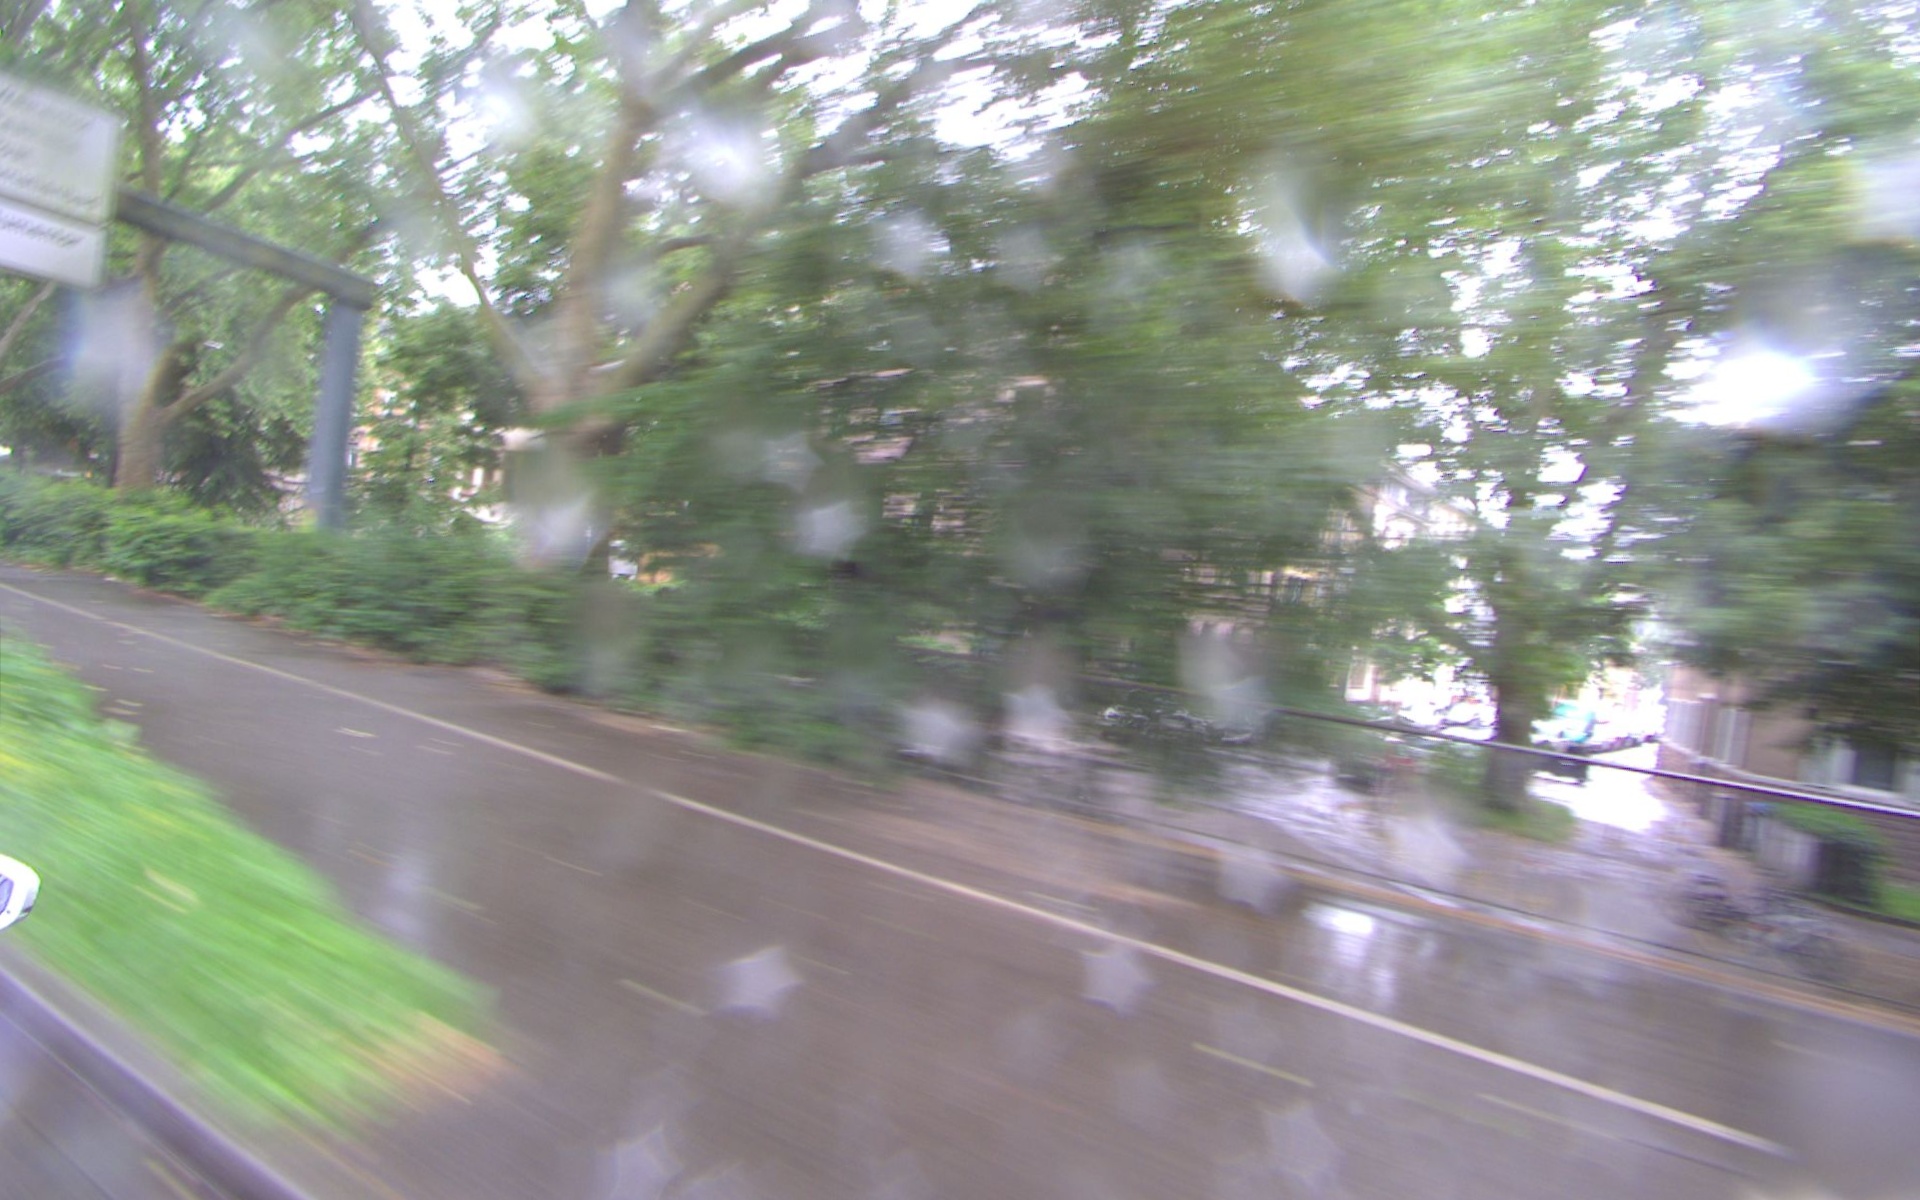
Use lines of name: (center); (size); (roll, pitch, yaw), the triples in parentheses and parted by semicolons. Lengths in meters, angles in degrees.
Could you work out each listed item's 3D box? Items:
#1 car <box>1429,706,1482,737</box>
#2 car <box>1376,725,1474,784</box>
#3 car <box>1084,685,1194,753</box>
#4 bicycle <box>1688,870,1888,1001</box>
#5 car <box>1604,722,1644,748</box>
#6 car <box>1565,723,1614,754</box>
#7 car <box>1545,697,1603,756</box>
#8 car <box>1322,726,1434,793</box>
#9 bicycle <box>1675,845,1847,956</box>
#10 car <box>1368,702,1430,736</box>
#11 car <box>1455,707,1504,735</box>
car: (29.338, 7.166, 59.523); (1.898, 1.487, 3.894); (6, -2, 39)
car: (15.171, 4.970, 32.712); (1.898, 1.487, 3.894); (6, -2, 39)
car: (5.529, 3.580, 30.692); (1.894, 1.679, 3.994); (6, -1, 31)
bicycle: (11.913, 4.812, 14.564); (1.993, 1.188, 0.644); (9, 2, 25)
car: (47.569, 9.656, 72.051); (1.898, 1.487, 3.894); (6, -2, 39)
car: (36.757, 8.037, 58.722); (1.898, 1.487, 3.894); (6, -2, 39)
car: (32.300, 6.637, 52.882); (1.898, 2.738, 3.894); (6, -1, 39)
car: (12.158, 4.543, 29.130); (1.898, 1.487, 3.894); (6, -2, 39)
bicycle: (13.282, 4.978, 16.766); (1.993, 1.189, 0.643); (9, 3, 25)
car: (23.220, 6.291, 53.146); (1.898, 1.487, 3.894); (6, -2, 39)
car: (33.017, 7.690, 63.920); (1.898, 1.487, 3.894); (6, -2, 39)
